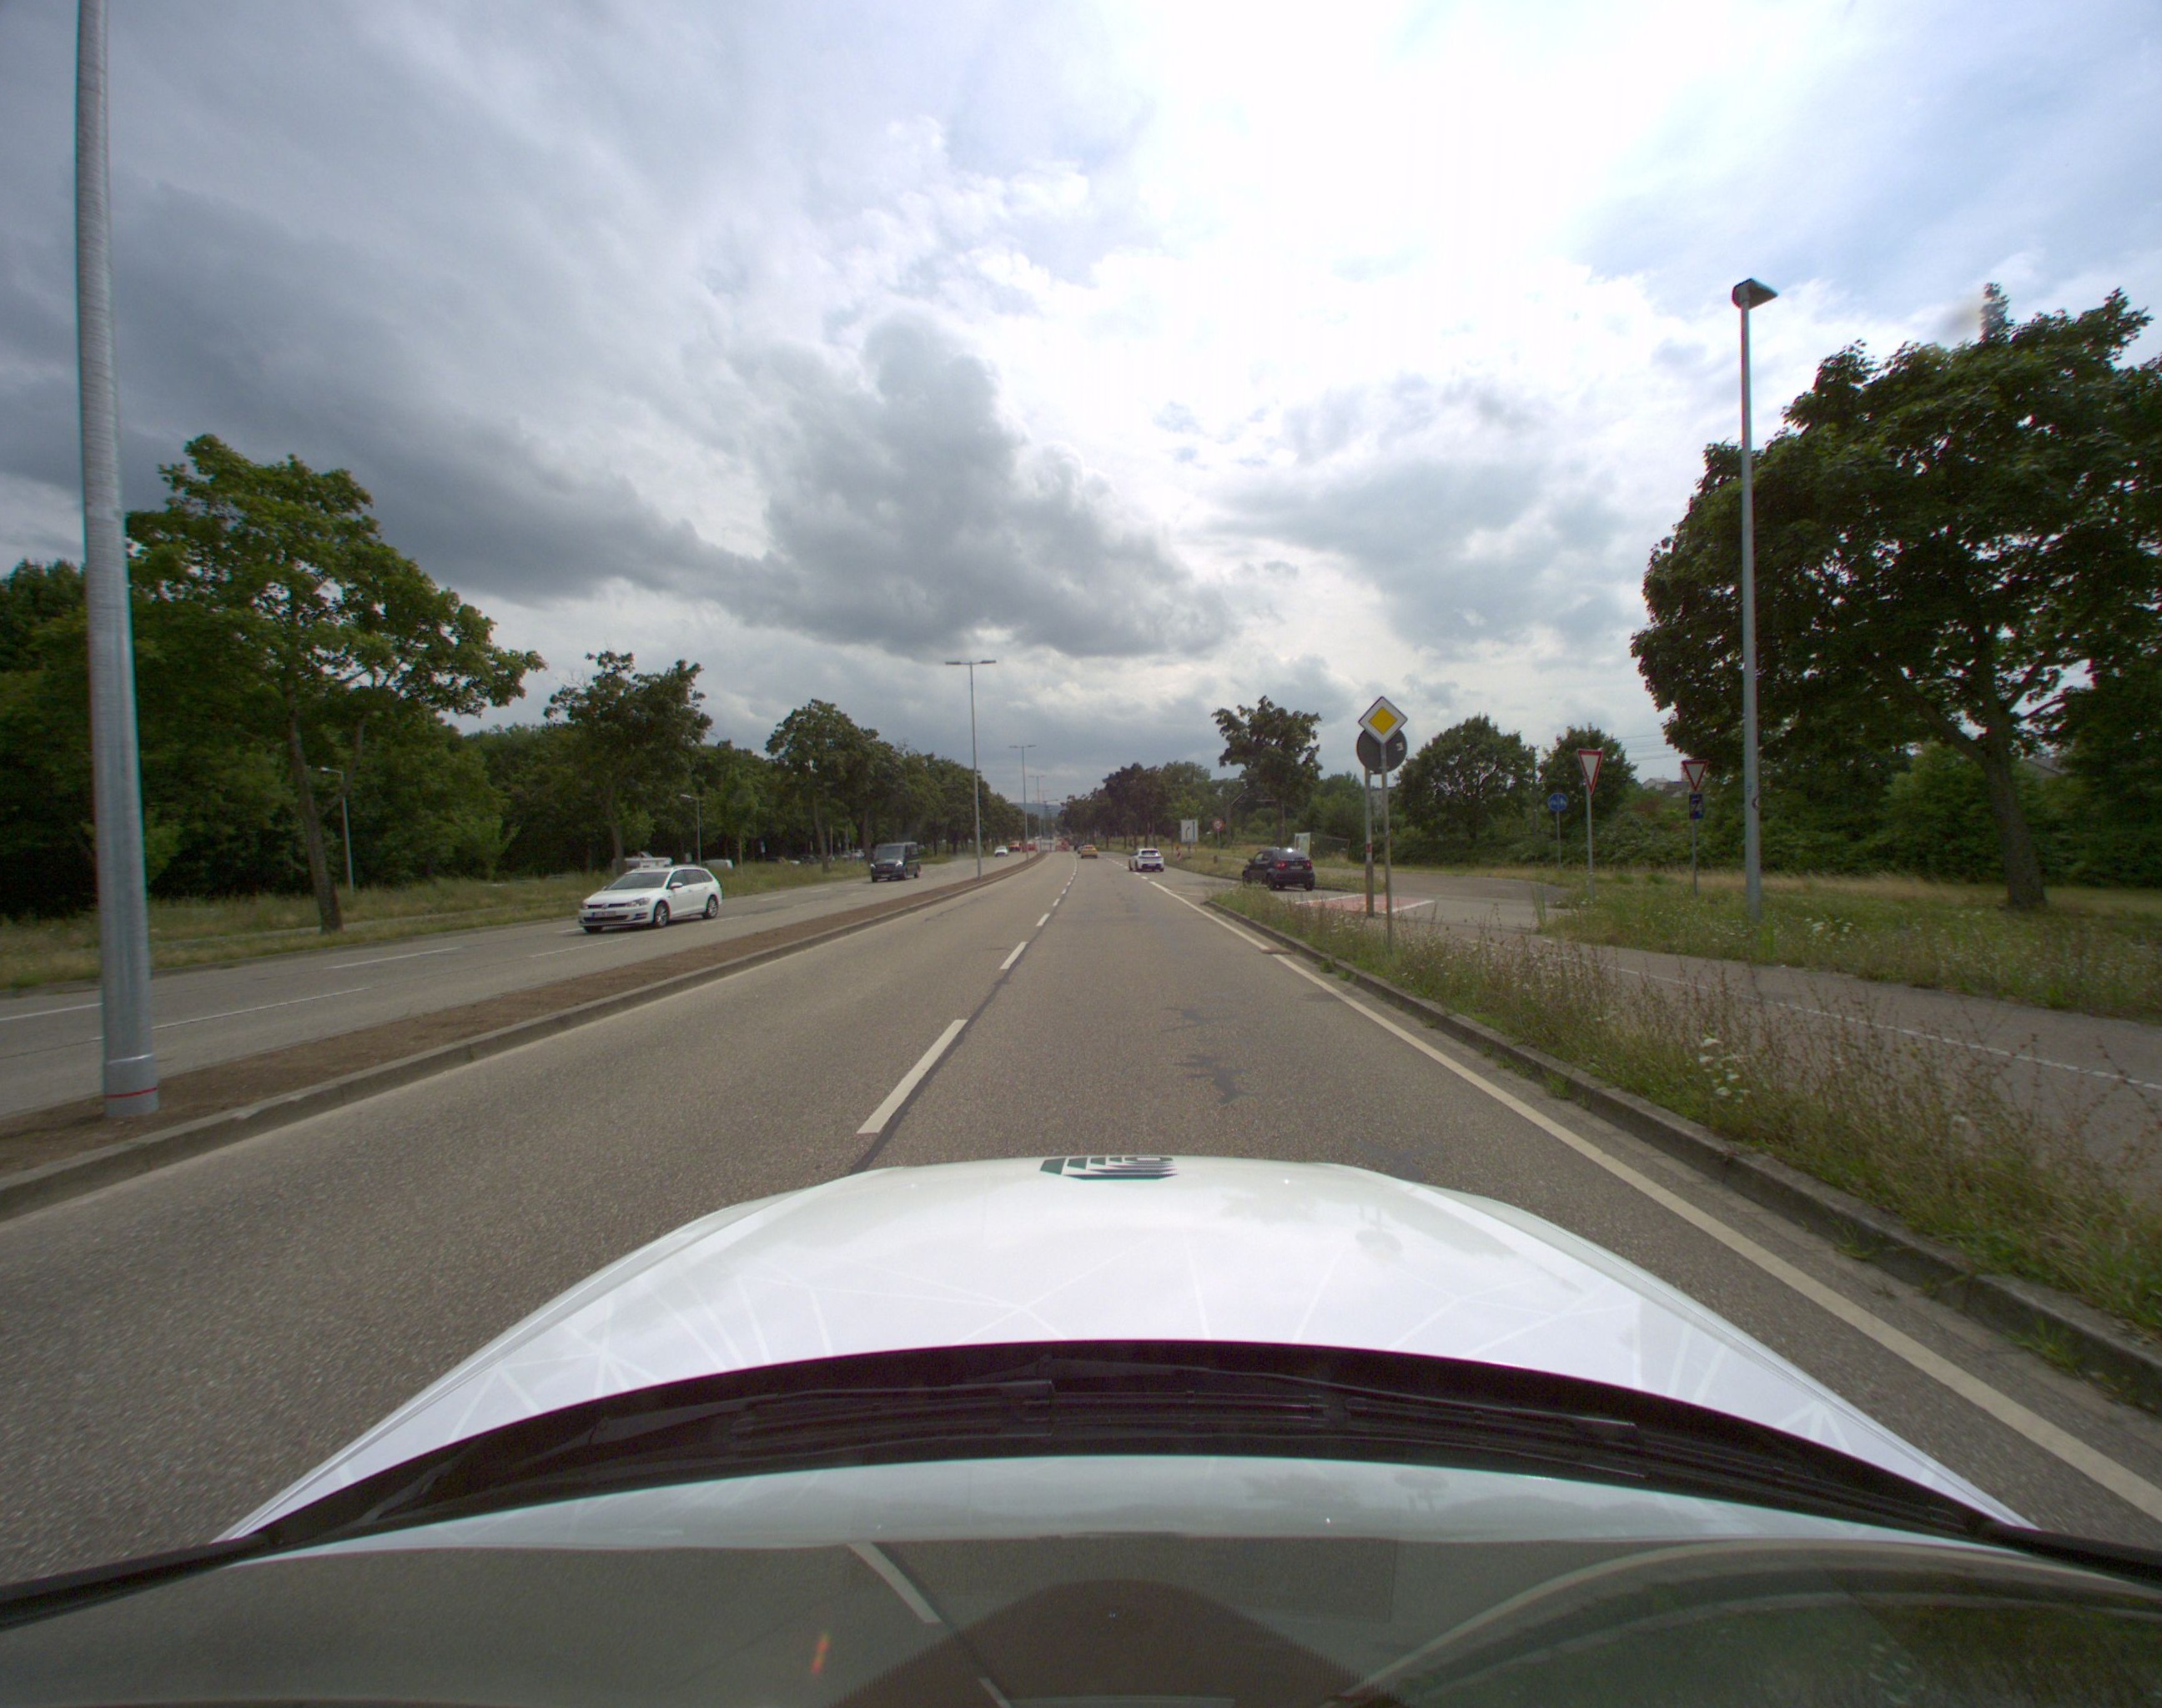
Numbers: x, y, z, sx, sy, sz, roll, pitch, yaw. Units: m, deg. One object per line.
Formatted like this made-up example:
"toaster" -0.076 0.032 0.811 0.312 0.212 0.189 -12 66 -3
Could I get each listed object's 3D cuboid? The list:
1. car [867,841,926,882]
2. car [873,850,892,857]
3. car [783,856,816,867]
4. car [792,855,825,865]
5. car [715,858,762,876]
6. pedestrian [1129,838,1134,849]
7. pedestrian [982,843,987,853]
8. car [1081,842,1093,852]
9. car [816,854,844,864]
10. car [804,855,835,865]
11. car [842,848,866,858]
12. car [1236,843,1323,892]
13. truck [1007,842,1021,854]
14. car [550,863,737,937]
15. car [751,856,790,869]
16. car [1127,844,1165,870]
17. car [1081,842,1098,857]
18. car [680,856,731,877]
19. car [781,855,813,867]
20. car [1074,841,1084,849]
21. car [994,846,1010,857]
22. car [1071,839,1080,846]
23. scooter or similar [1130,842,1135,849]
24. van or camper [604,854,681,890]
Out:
"car" -11.055 0.398 49.232 2.088 2.200 6.003 -3 1 0
"car" -39.139 -0.128 160.752 3.355 1.232 1.441 -2 1 0
"car" -38.673 1.036 111.840 3.975 1.259 1.563 -2 1 -1
"car" -38.852 0.883 116.075 3.975 1.259 1.853 -2 1 -1
"car" -36.444 1.327 86.704 3.975 1.713 2.045 -2 1 -1
"pedestrian" 8.315 -1.711 133.715 0.689 1.695 0.932 -2 1 -6
"pedestrian" -19.353 -1.189 163.409 0.693 1.838 0.646 -2 1 -23
"car" 0.839 -0.947 114.905 1.661 1.269 4.001 -2 1 0
"car" -38.861 0.805 126.126 3.632 1.360 1.709 -2 1 1
"car" -38.762 0.850 120.658 3.973 1.360 1.668 -2 1 1
"car" -39.405 -0.129 141.376 3.636 1.519 1.883 -2 1 1
"car" 7.390 0.444 30.734 1.704 1.668 3.985 -1 1 -11
"truck" -12.715 -1.157 154.831 2.082 1.994 6.039 -3 1 0
"car" -10.798 1.051 20.616 1.986 1.430 4.691 -3 1 2
"car" -38.083 1.069 99.871 3.972 1.448 2.001 -2 1 1
"car" 4.076 0.168 51.326 1.763 1.464 3.995 -2 1 -4
"car" 0.930 -0.551 90.336 1.787 1.561 4.001 -2 1 0
"car" -36.796 1.215 79.827 3.975 1.887 1.938 -2 1 -1
"car" -37.689 0.868 108.176 3.636 1.411 1.518 -2 1 1
"car" -0.269 -1.493 140.264 1.661 1.269 4.001 -2 1 0
"car" -11.273 -0.365 115.875 1.711 1.420 4.160 -4 1 0
"car" -1.457 -3.014 214.599 2.198 1.683 4.002 -2 1 1
"scooter or similar" 8.404 -1.407 132.793 0.681 1.129 0.932 -2 1 -6
"van or camper" -35.627 1.375 66.443 2.464 2.540 6.721 -2 1 0
